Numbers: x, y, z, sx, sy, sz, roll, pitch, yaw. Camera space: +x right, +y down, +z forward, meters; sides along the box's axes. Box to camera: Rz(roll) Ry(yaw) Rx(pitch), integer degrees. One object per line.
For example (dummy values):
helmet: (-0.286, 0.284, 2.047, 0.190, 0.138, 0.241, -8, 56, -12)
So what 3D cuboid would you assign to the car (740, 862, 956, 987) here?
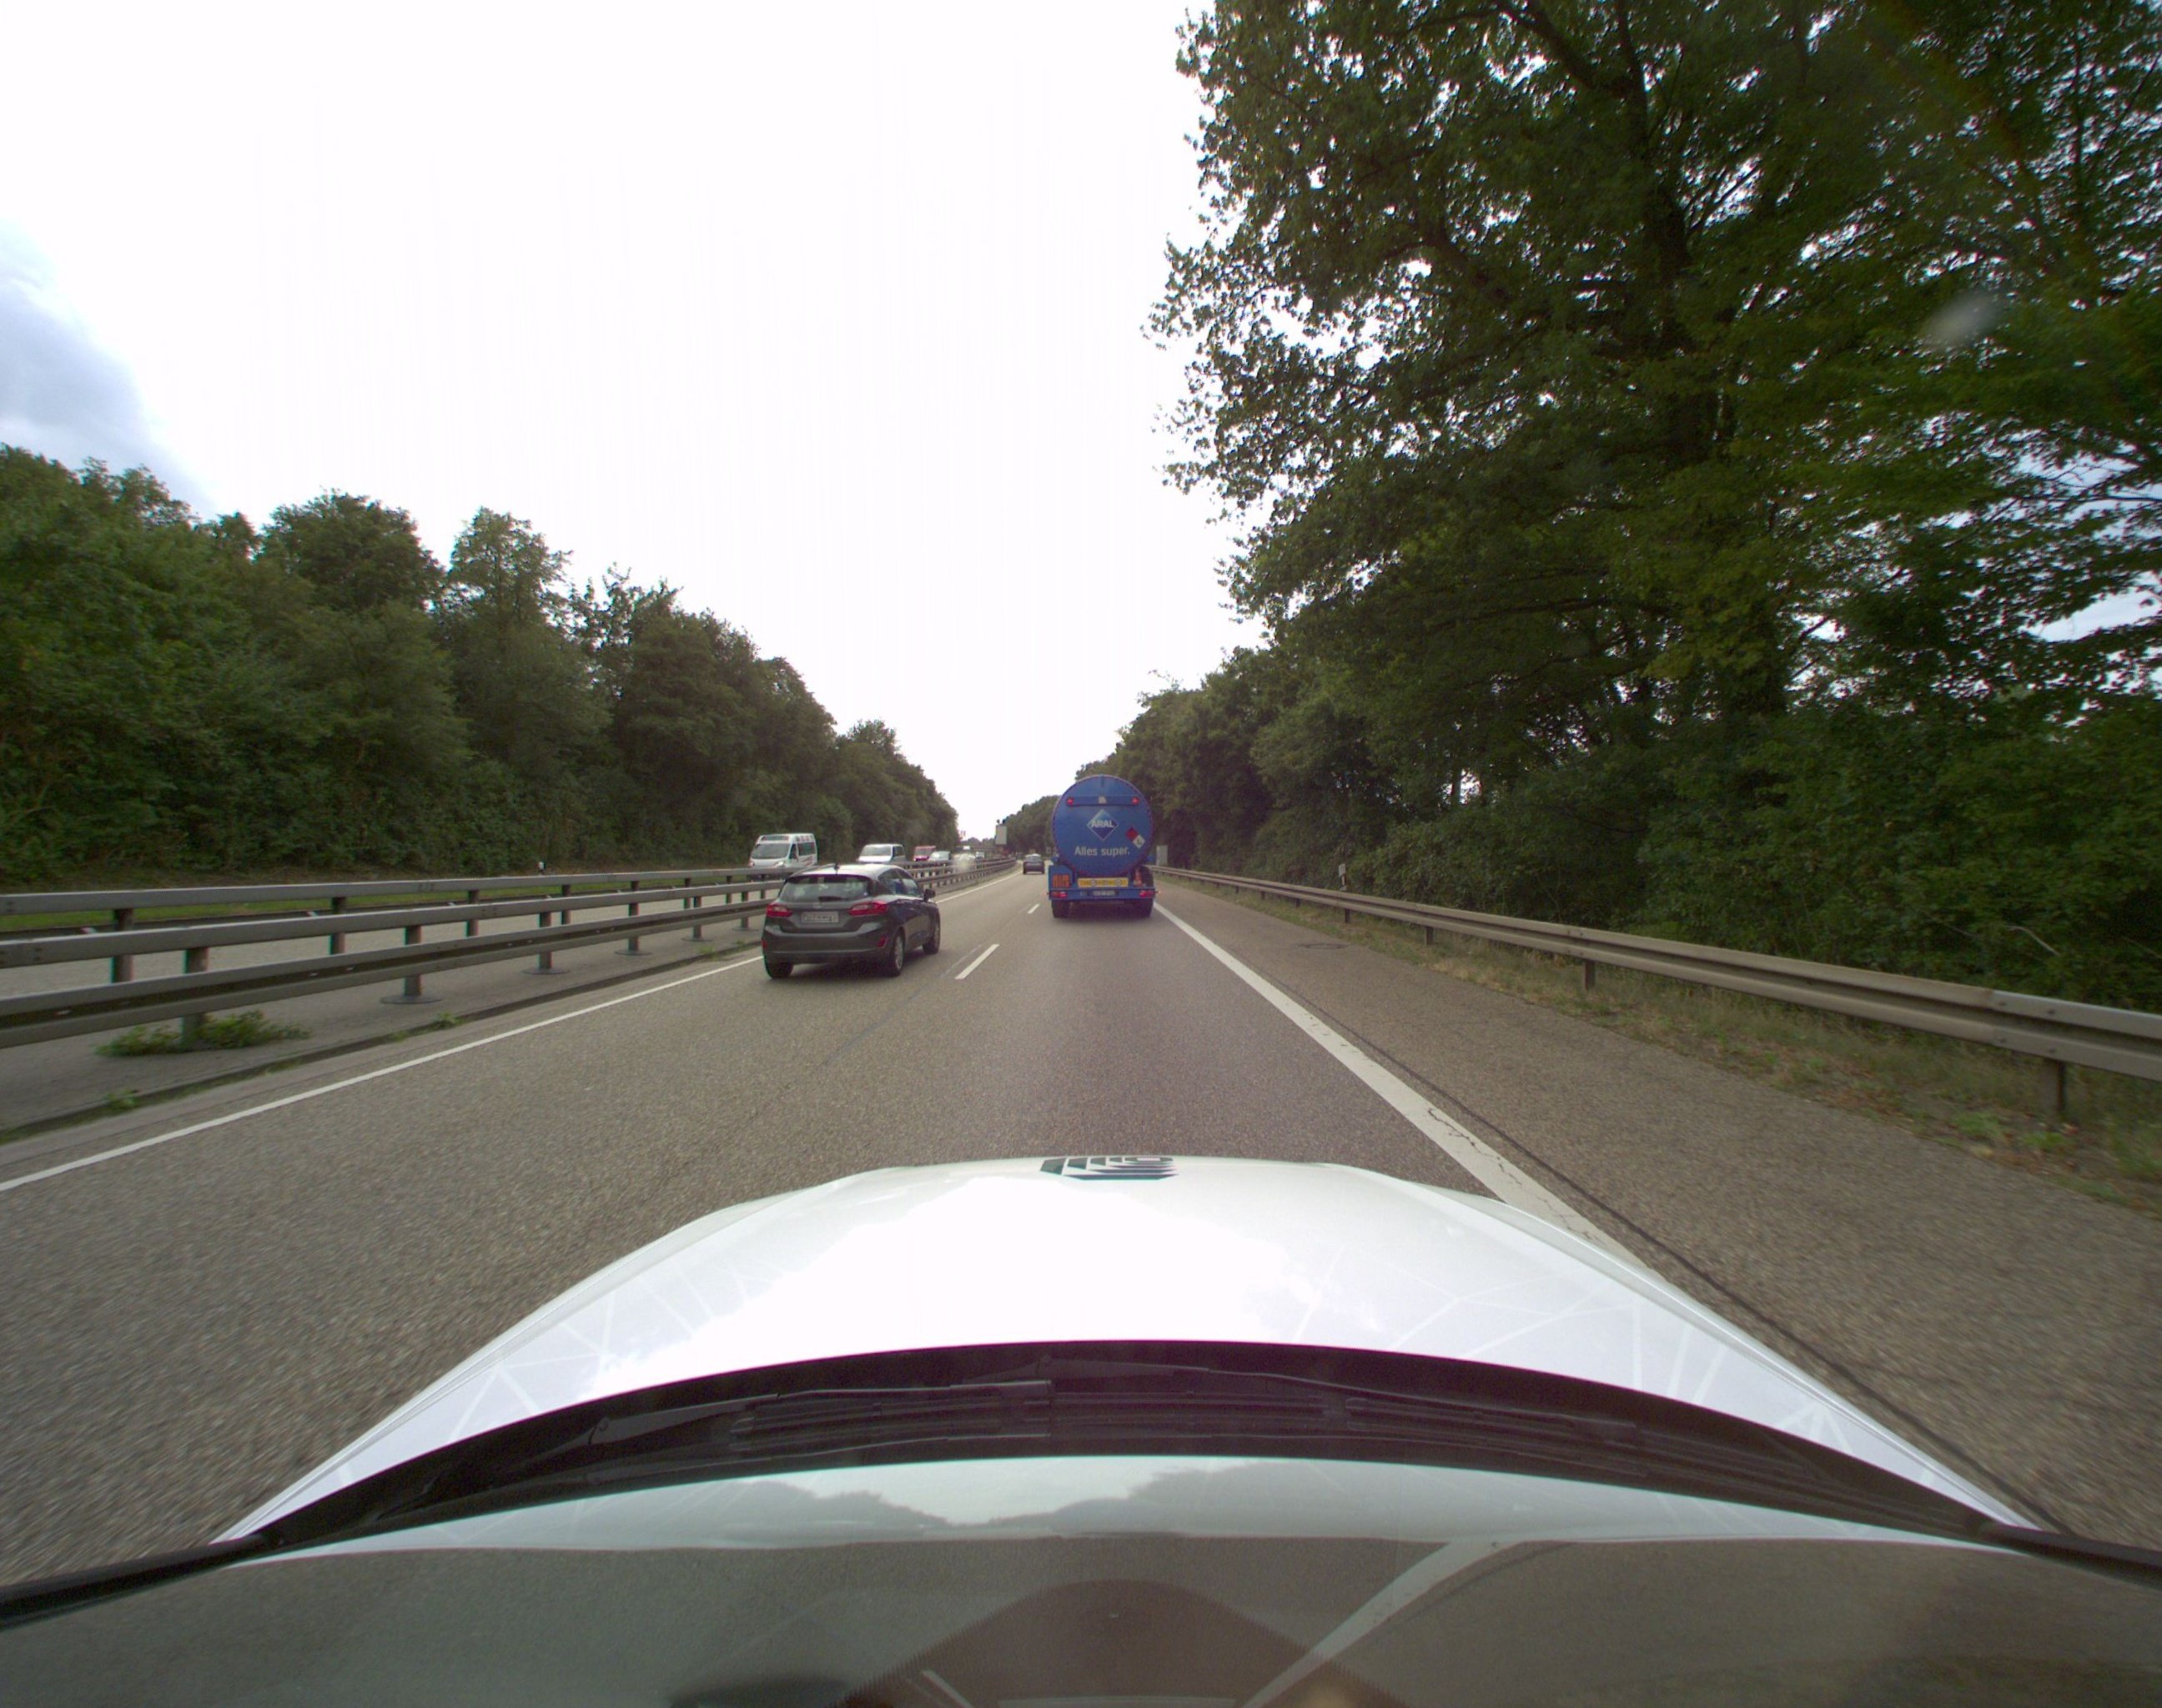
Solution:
car: (-3.158, 0.863, 12.106, 1.820, 1.458, 4.639, -1, 0, 0)

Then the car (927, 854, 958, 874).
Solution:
car: (-11.137, 0.807, 65.741, 1.776, 1.563, 4.014, -1, 0, 0)

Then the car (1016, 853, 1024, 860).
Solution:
car: (-15.558, 0.613, 207.173, 1.991, 1.552, 3.991, -1, 0, -6)

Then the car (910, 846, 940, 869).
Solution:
car: (-15.893, 0.398, 83.044, 2.060, 2.256, 5.372, -1, 0, -1)

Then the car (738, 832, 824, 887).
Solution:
car: (-15.289, 0.266, 41.929, 2.304, 2.611, 5.552, -1, 0, 0)

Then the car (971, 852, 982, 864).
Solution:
car: (-20.295, 0.773, 158.546, 1.932, 2.321, 5.295, -1, 0, -5)

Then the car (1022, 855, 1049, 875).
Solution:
car: (-3.790, 0.876, 68.278, 1.819, 1.609, 4.169, -1, 0, 2)

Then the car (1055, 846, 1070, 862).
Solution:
car: (-2.723, 0.027, 123.071, 1.986, 2.244, 4.002, -1, 0, 2)

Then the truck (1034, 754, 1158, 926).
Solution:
truck: (0.460, -0.322, 22.300, 2.745, 3.846, 7.691, -1, 0, 2)

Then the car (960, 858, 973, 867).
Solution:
car: (-19.648, 1.416, 139.622, 1.689, 1.466, 4.087, -1, 0, -1)

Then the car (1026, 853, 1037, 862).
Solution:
car: (-9.388, 0.706, 155.571, 1.952, 1.567, 3.992, -1, 0, -5)

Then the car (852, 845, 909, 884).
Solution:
car: (-10.866, 0.551, 44.420, 1.816, 1.983, 5.057, -1, 0, 0)
